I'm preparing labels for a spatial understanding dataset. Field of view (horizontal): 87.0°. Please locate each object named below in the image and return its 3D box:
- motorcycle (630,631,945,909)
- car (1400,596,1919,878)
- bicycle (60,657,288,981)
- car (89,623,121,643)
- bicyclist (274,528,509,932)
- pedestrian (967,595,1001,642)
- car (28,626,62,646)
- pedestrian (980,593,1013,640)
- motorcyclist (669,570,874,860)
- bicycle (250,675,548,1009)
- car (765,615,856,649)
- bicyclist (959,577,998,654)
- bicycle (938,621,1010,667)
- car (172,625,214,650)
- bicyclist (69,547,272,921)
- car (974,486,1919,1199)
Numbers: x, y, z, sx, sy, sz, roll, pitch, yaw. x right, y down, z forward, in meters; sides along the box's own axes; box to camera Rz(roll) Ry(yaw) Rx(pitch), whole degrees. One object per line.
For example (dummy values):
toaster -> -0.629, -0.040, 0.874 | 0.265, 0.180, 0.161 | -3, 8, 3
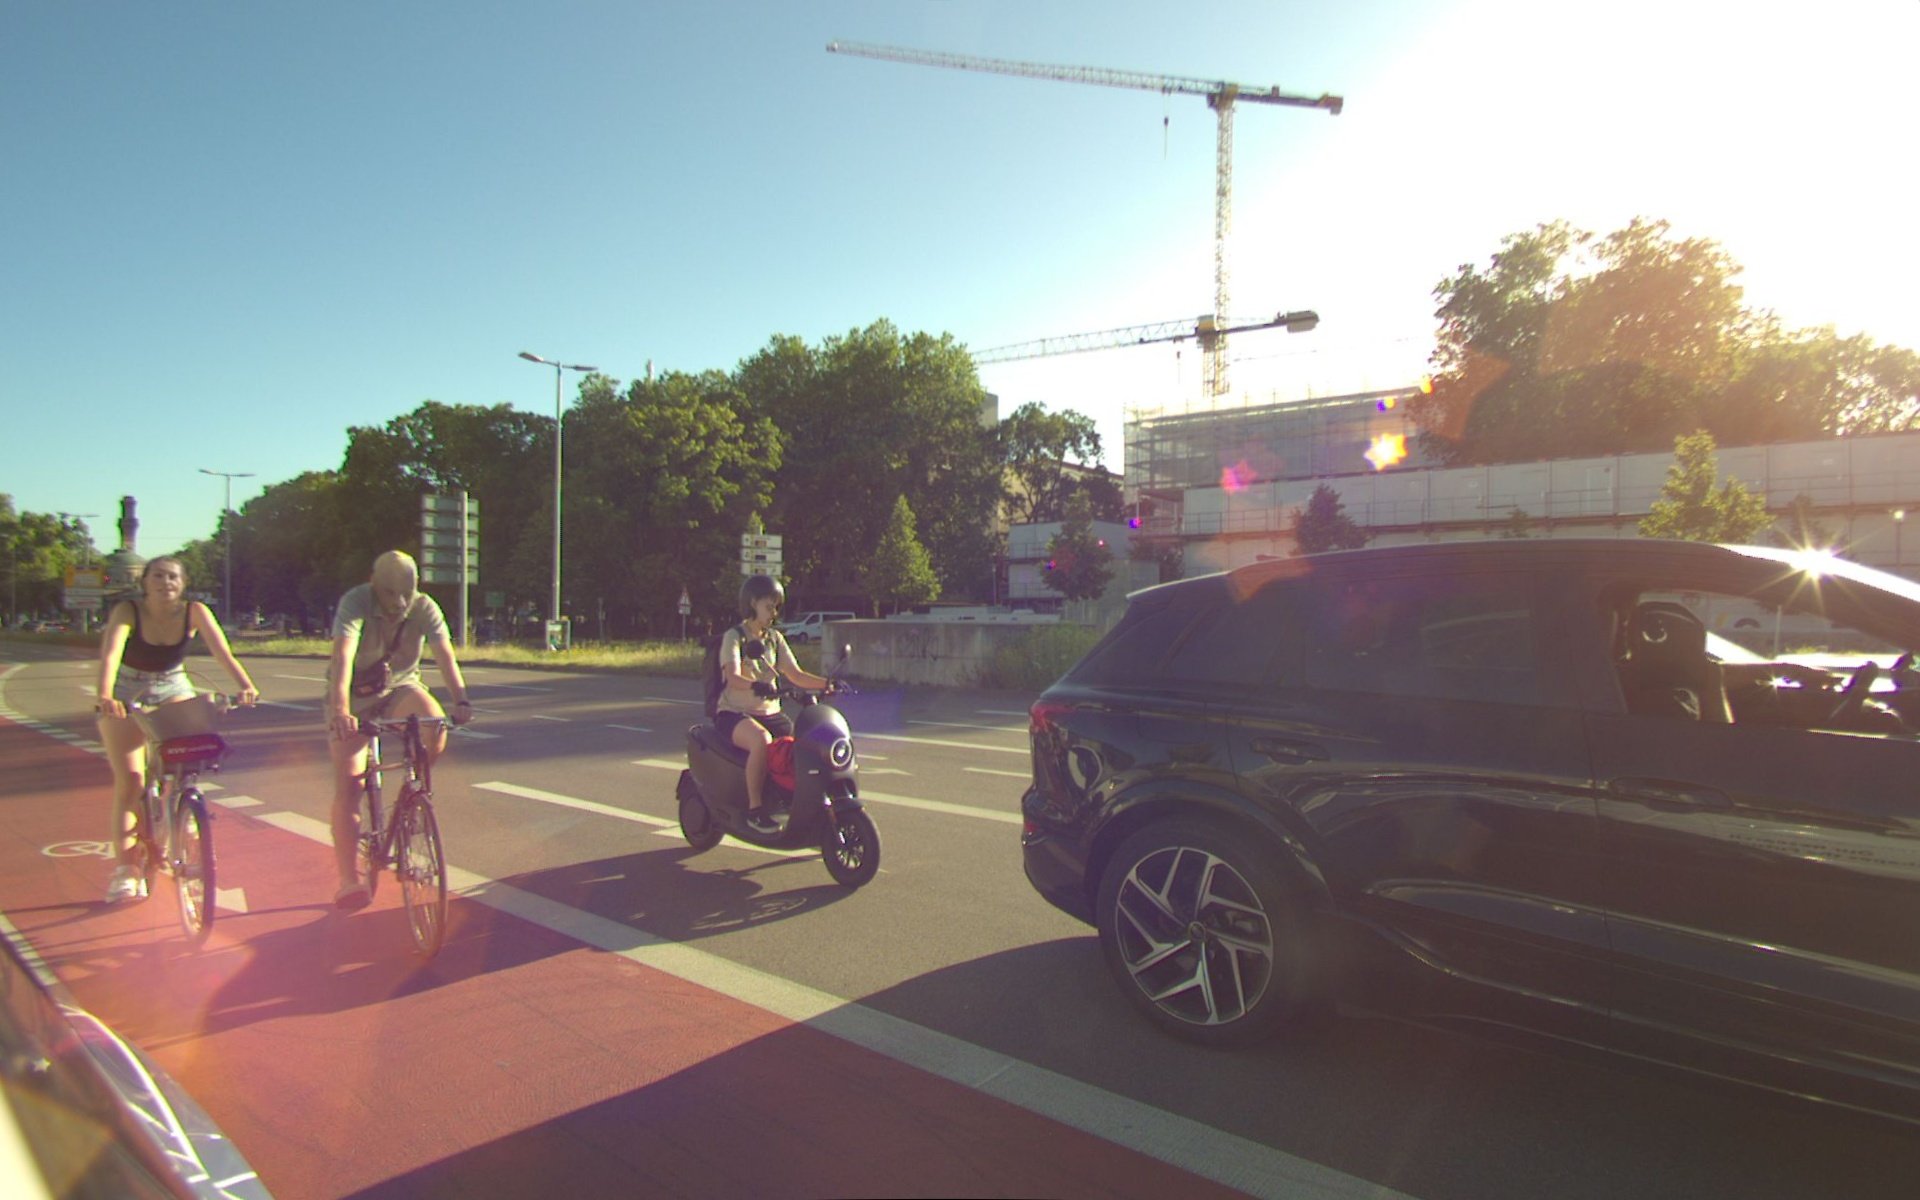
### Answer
motorcycle -> -1.033, 0.842, 5.729 | 1.883, 1.303, 0.715 | -2, -1, 41
car -> 4.974, 0.754, 6.545 | 3.603, 1.497, 1.477 | -2, -1, 41
bicycle -> -3.851, 0.920, 4.895 | 1.832, 1.227, 0.609 | -2, -1, 44
car -> -79.872, 3.040, 94.529 | 3.945, 1.802, 1.725 | -1, 0, 41
bicyclist -> -2.592, 0.525, 4.605 | 0.842, 1.618, 0.708 | -2, -1, 44
pedestrian -> 1.056, 0.796, 43.791 | 1.135, 2.029, 0.930 | -1, 0, 35
car -> -82.533, 3.257, 91.290 | 3.998, 1.699, 1.826 | -1, 0, 41
pedestrian -> 1.604, 0.708, 44.601 | 1.135, 2.029, 0.930 | -1, 0, 35
motorcyclist -> -1.079, 0.596, 5.769 | 0.917, 1.485, 0.717 | -2, -1, 41
bicycle -> -2.635, 0.957, 4.632 | 1.971, 1.118, 0.640 | -2, -1, 44
car -> -9.063, 1.927, 61.844 | 2.065, 1.950, 5.443 | -1, -2, 42
bicyclist -> 0.760, 0.623, 41.455 | 1.305, 3.126, 0.831 | -1, 0, 39
bicycle -> 0.545, 1.820, 41.657 | 3.079, 1.824, 0.831 | -3, -1, 40
car -> -58.848, 2.859, 77.604 | 3.998, 1.841, 1.796 | -1, 0, 41
bicyclist -> -3.782, 0.573, 4.838 | 0.875, 1.591, 0.634 | -2, -1, 44
car -> 2.416, 0.576, 3.026 | 4.677, 1.647, 1.753 | -1, 0, 40
